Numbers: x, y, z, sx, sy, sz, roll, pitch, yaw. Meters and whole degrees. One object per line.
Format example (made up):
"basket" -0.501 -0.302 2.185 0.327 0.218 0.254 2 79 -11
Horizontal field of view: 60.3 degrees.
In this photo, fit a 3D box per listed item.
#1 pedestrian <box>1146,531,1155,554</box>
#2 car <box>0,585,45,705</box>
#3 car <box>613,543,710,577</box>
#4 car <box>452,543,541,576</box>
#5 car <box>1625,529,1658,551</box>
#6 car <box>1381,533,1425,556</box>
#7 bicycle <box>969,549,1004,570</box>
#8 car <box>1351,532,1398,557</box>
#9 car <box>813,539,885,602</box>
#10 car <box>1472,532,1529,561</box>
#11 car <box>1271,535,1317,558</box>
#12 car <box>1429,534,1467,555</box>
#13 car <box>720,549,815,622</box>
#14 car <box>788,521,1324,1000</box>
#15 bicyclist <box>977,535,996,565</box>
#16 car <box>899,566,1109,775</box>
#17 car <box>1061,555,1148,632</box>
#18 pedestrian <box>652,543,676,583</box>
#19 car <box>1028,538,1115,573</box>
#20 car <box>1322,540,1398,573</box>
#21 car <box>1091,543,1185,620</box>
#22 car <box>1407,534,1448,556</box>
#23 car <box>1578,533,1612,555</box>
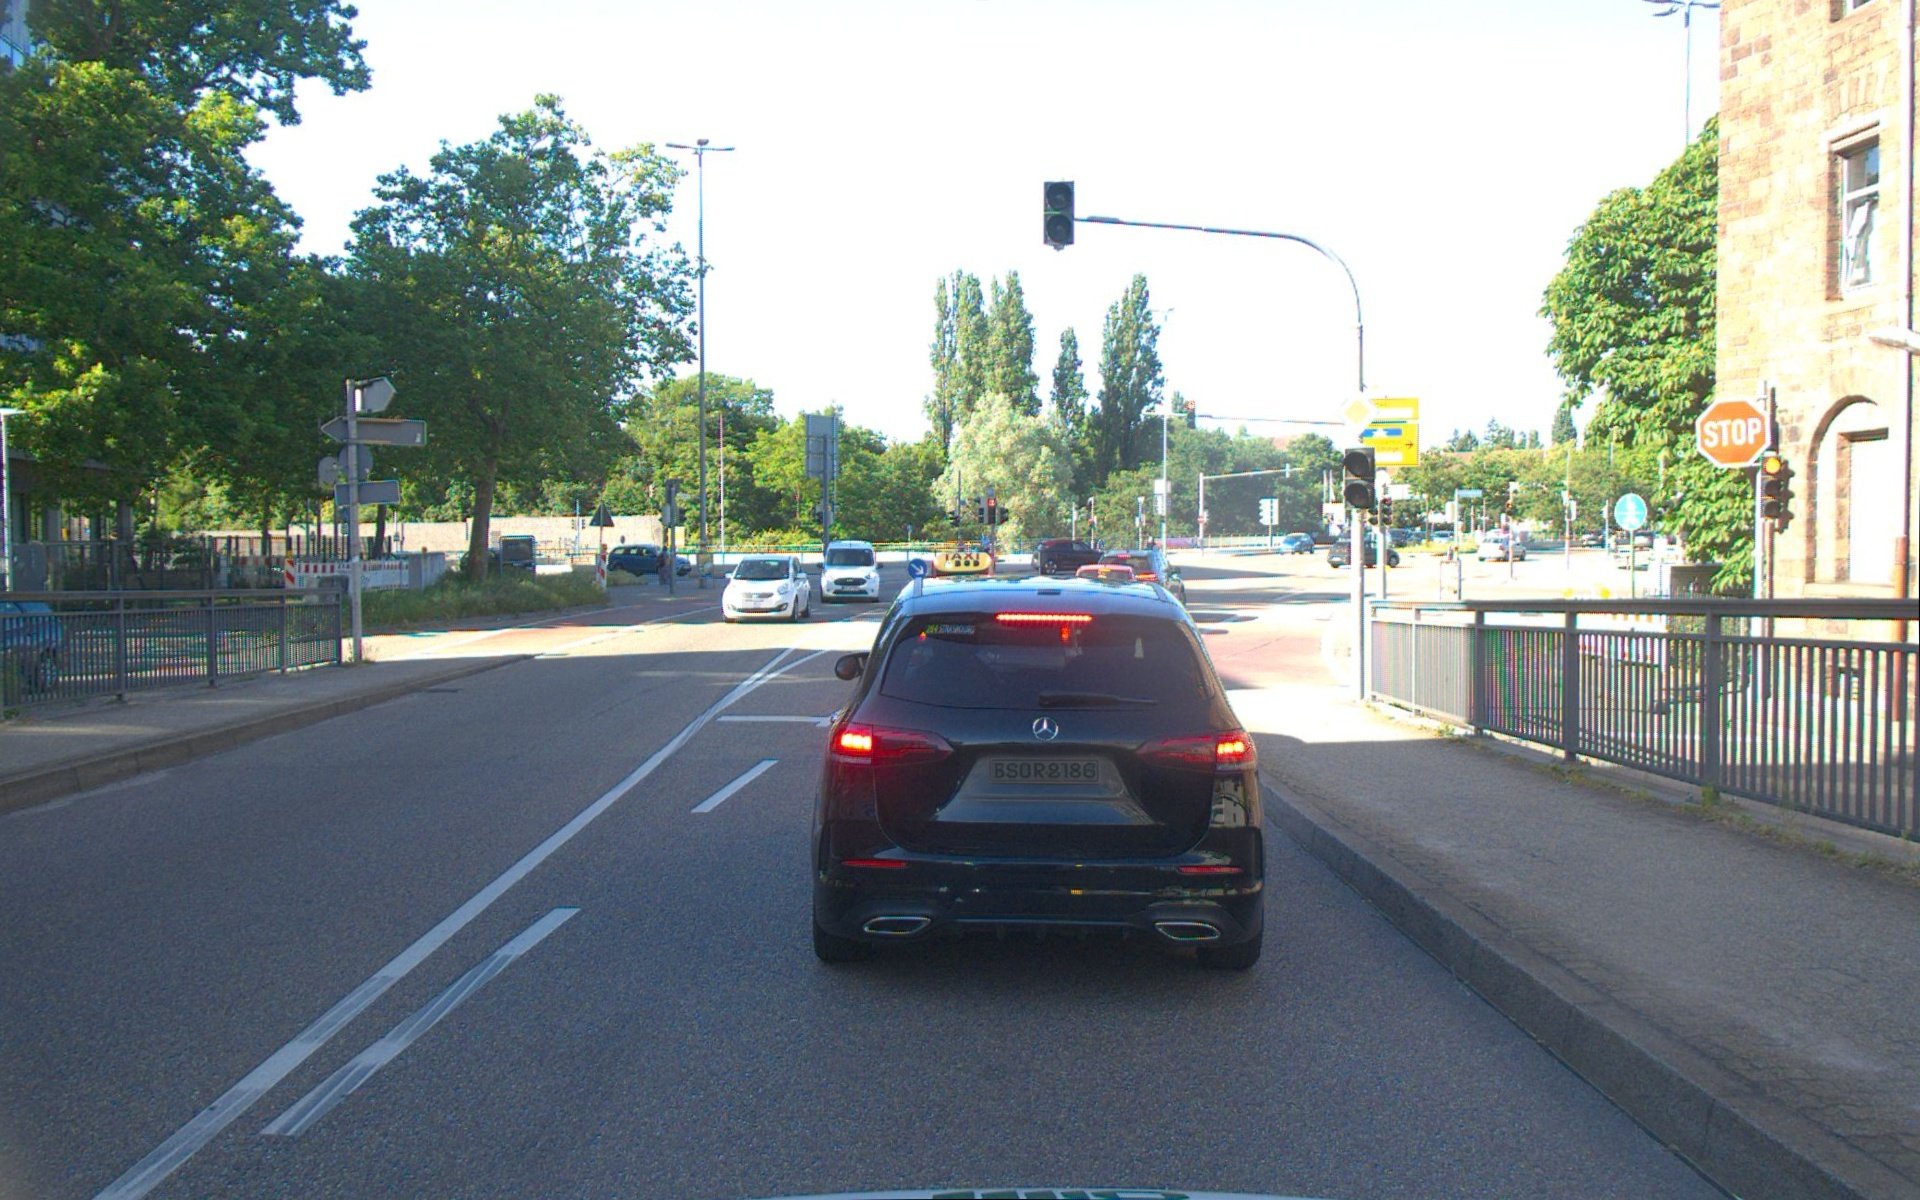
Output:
"pedestrian" 13.575 -4.086 118.006 0.443 1.613 0.499 0 2 39
"car" -14.984 0.711 23.457 1.814 1.722 4.000 0 2 -1
"car" -14.604 -1.955 80.887 4.307 1.658 1.891 0 2 22
"car" -23.913 -2.073 85.338 4.313 1.658 1.888 0 2 29
"car" 52.551 -4.596 127.554 1.707 1.524 3.990 0 0 32
"car" 31.742 -4.012 118.476 1.846 1.605 3.988 1 3 34
"bicycle" 1.404 -2.150 87.302 1.971 1.068 0.520 -3 2 -40
"car" 28.388 -3.809 113.236 1.846 1.605 3.988 1 3 34
"car" -3.530 -0.970 51.748 1.882 1.825 4.891 -2 2 -8
"car" 31.529 -3.124 96.358 1.856 1.658 3.980 1 2 40
"car" 23.950 -3.865 118.542 1.846 1.605 3.988 1 3 34
"car" 39.355 -4.493 133.257 1.846 1.605 3.988 1 3 34
"car" -4.695 -0.398 40.894 1.741 1.663 4.002 -1 2 2
"car" 0.289 0.530 7.737 1.840 1.641 3.999 1 1 -1
"bicyclist" 1.403 -2.650 87.279 0.799 1.578 0.520 -3 2 -40
"car" 0.372 0.516 14.599 1.606 1.556 3.475 -1 2 1
"car" 3.291 -0.195 37.289 1.685 1.548 3.490 0 3 9
"pedestrian" -11.720 -1.471 65.526 0.690 1.552 0.744 1 1 9
"car" 5.338 -2.131 79.338 3.911 1.658 1.888 -1 1 -7
"car" 20.745 -2.277 85.794 3.961 1.658 1.864 -2 2 -39
"car" 4.687 -0.529 42.991 1.685 1.843 4.301 0 2 16
"car" 35.246 -4.176 124.694 1.846 1.605 3.988 1 3 34
"car" 51.029 -4.512 132.911 1.851 1.574 3.990 1 0 32
